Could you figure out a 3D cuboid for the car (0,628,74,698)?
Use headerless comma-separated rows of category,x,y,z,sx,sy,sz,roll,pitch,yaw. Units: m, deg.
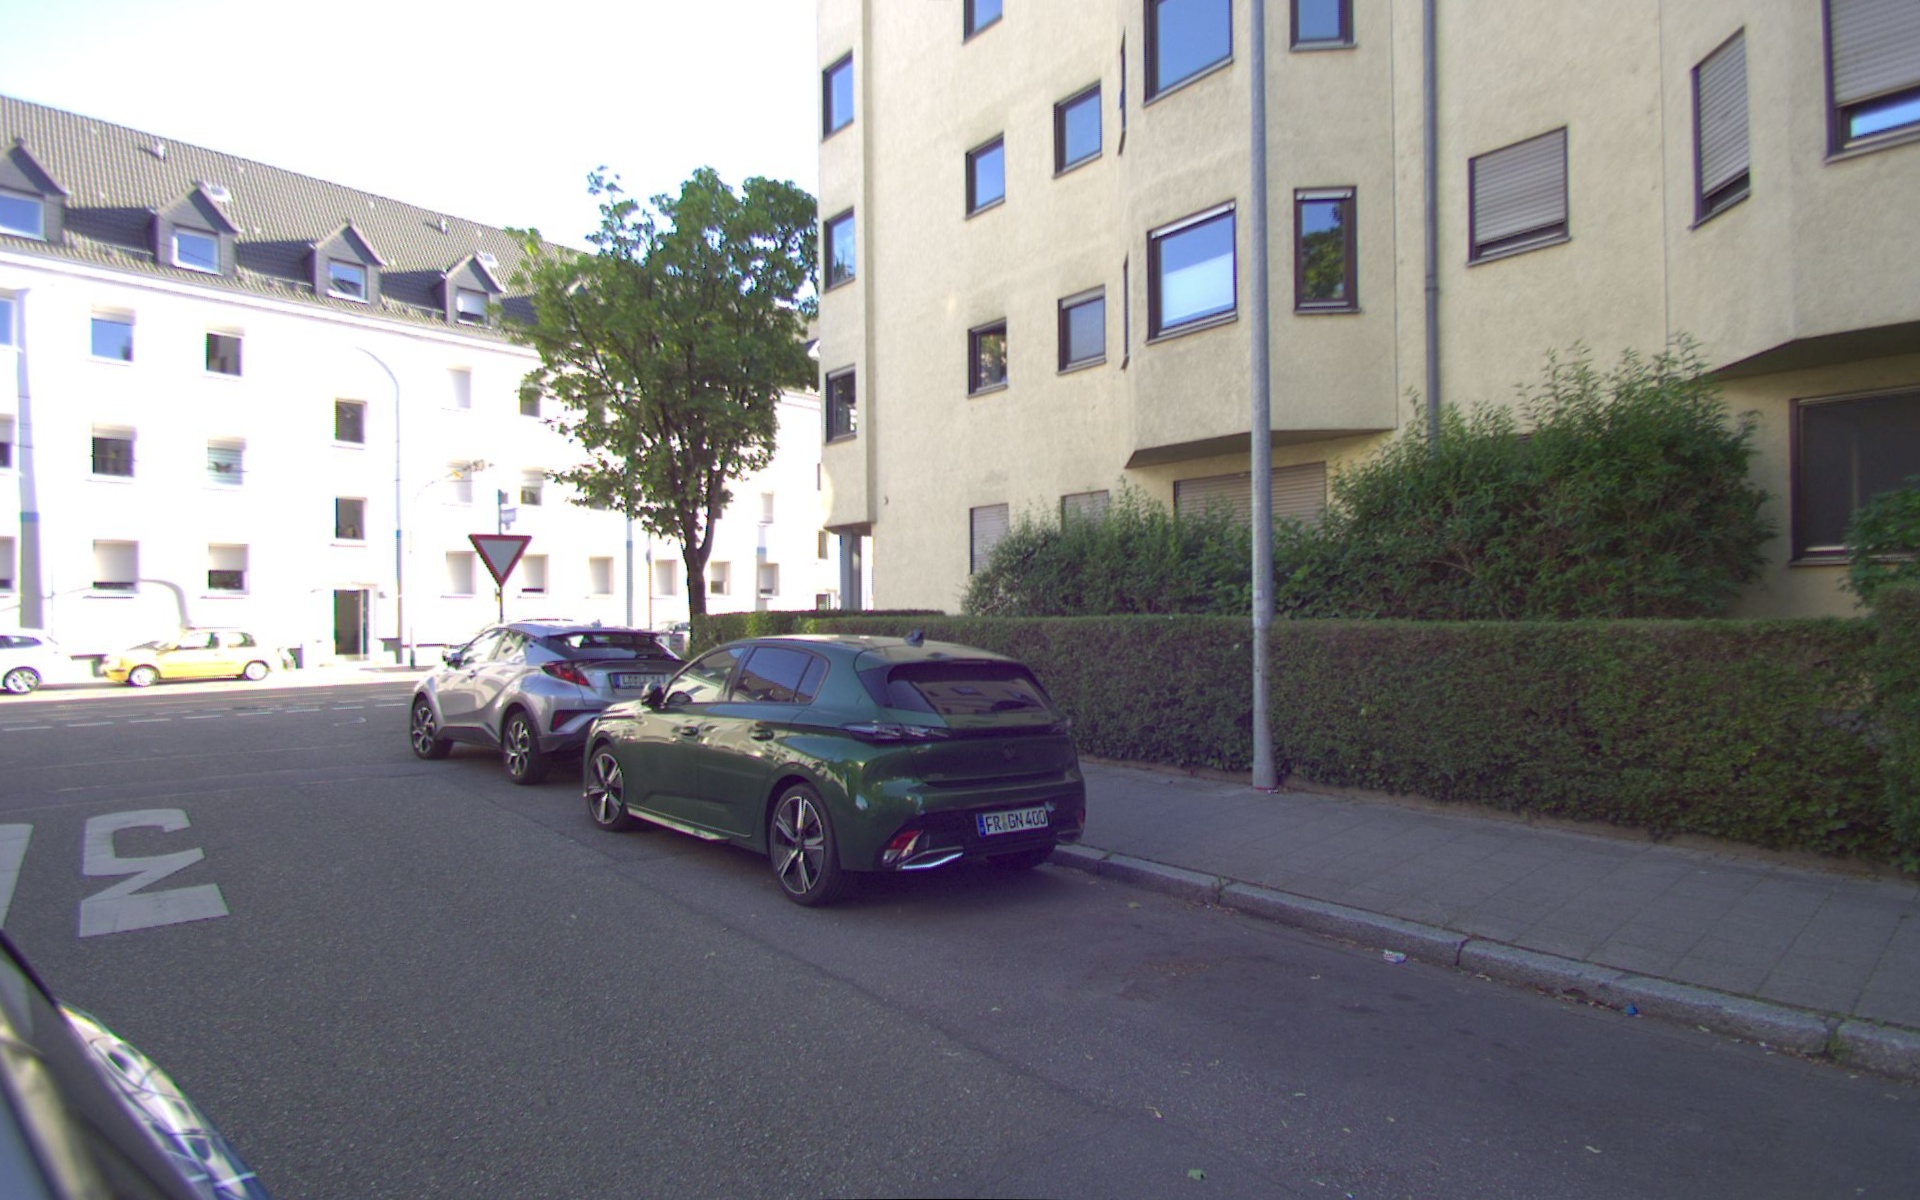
car,-22.733,1.438,22.496,1.945,1.518,4.430,-2,-1,43
